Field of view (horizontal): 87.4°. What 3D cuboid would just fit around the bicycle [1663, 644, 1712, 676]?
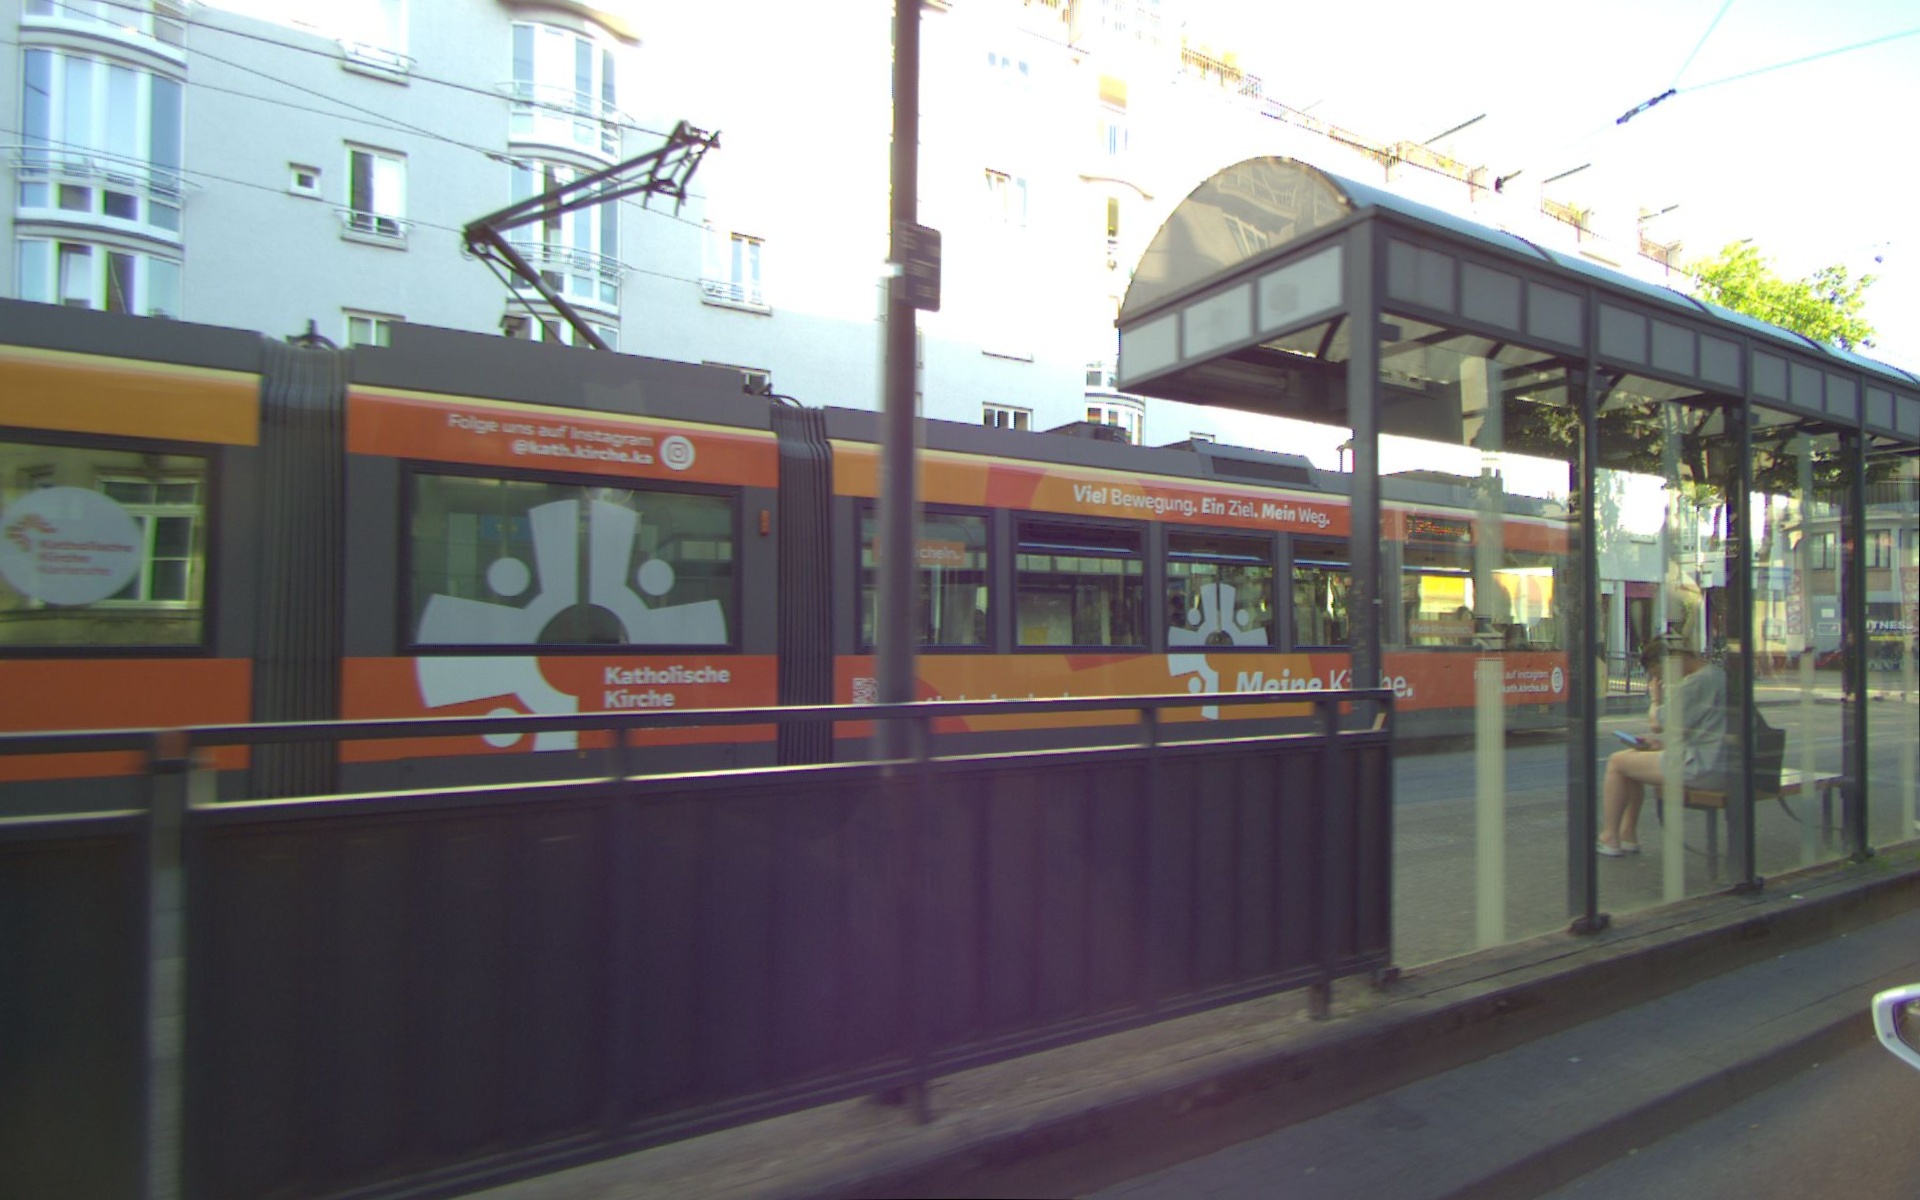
[{"bbox_3d":[26.505,2.190,36.613,1.772,1.122,0.498,1,1,-19],"label":"bicycle"}]

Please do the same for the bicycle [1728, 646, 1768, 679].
[{"bbox_3d":[28.210,2.228,35.946,1.779,1.122,0.496,1,1,-30],"label":"bicycle"}]

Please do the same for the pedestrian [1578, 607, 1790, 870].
[{"bbox_3d":[3.587,0.644,5.002,0.530,1.191,0.682,1,-2,-29],"label":"pedestrian"}]

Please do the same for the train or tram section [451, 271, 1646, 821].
[{"bbox_3d":[2.562,-0.104,11.522,14.779,3.536,2.870,2,-1,-31],"label":"train or tram section"}]

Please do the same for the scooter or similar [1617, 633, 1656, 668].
[{"bbox_3d":[24.159,1.795,35.865,1.252,1.209,0.498,0,1,-19],"label":"scooter or similar"}]

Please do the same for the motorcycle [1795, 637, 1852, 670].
[{"bbox_3d":[37.738,2.330,43.907,0.600,1.315,1.782,1,1,-36],"label":"motorcycle"}]

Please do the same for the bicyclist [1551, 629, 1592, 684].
[{"bbox_3d":[17.879,1.653,29.372,0.711,1.589,0.726,1,-2,-30],"label":"bicyclist"}]

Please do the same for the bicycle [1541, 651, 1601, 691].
[{"bbox_3d":[17.850,2.059,29.343,1.779,1.122,0.726,1,-3,-30],"label":"bicycle"}]

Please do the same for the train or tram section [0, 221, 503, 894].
[{"bbox_3d":[-9.723,-0.375,4.128,14.005,3.536,2.870,2,-1,-31],"label":"train or tram section"}]

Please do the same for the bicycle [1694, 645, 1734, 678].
[{"bbox_3d":[27.201,2.208,36.225,1.779,1.122,0.496,1,1,-30],"label":"bicycle"}]

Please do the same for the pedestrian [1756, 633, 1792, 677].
[{"bbox_3d":[33.059,2.219,40.807,1.000,1.683,0.919,1,0,33],"label":"pedestrian"}]

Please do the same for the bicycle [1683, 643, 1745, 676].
[{"bbox_3d":[27.996,2.209,37.316,1.763,1.122,0.500,1,1,10],"label":"bicycle"}]

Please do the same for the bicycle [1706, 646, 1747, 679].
[{"bbox_3d":[27.316,2.214,35.796,1.779,1.122,0.496,1,1,-30],"label":"bicycle"}]
